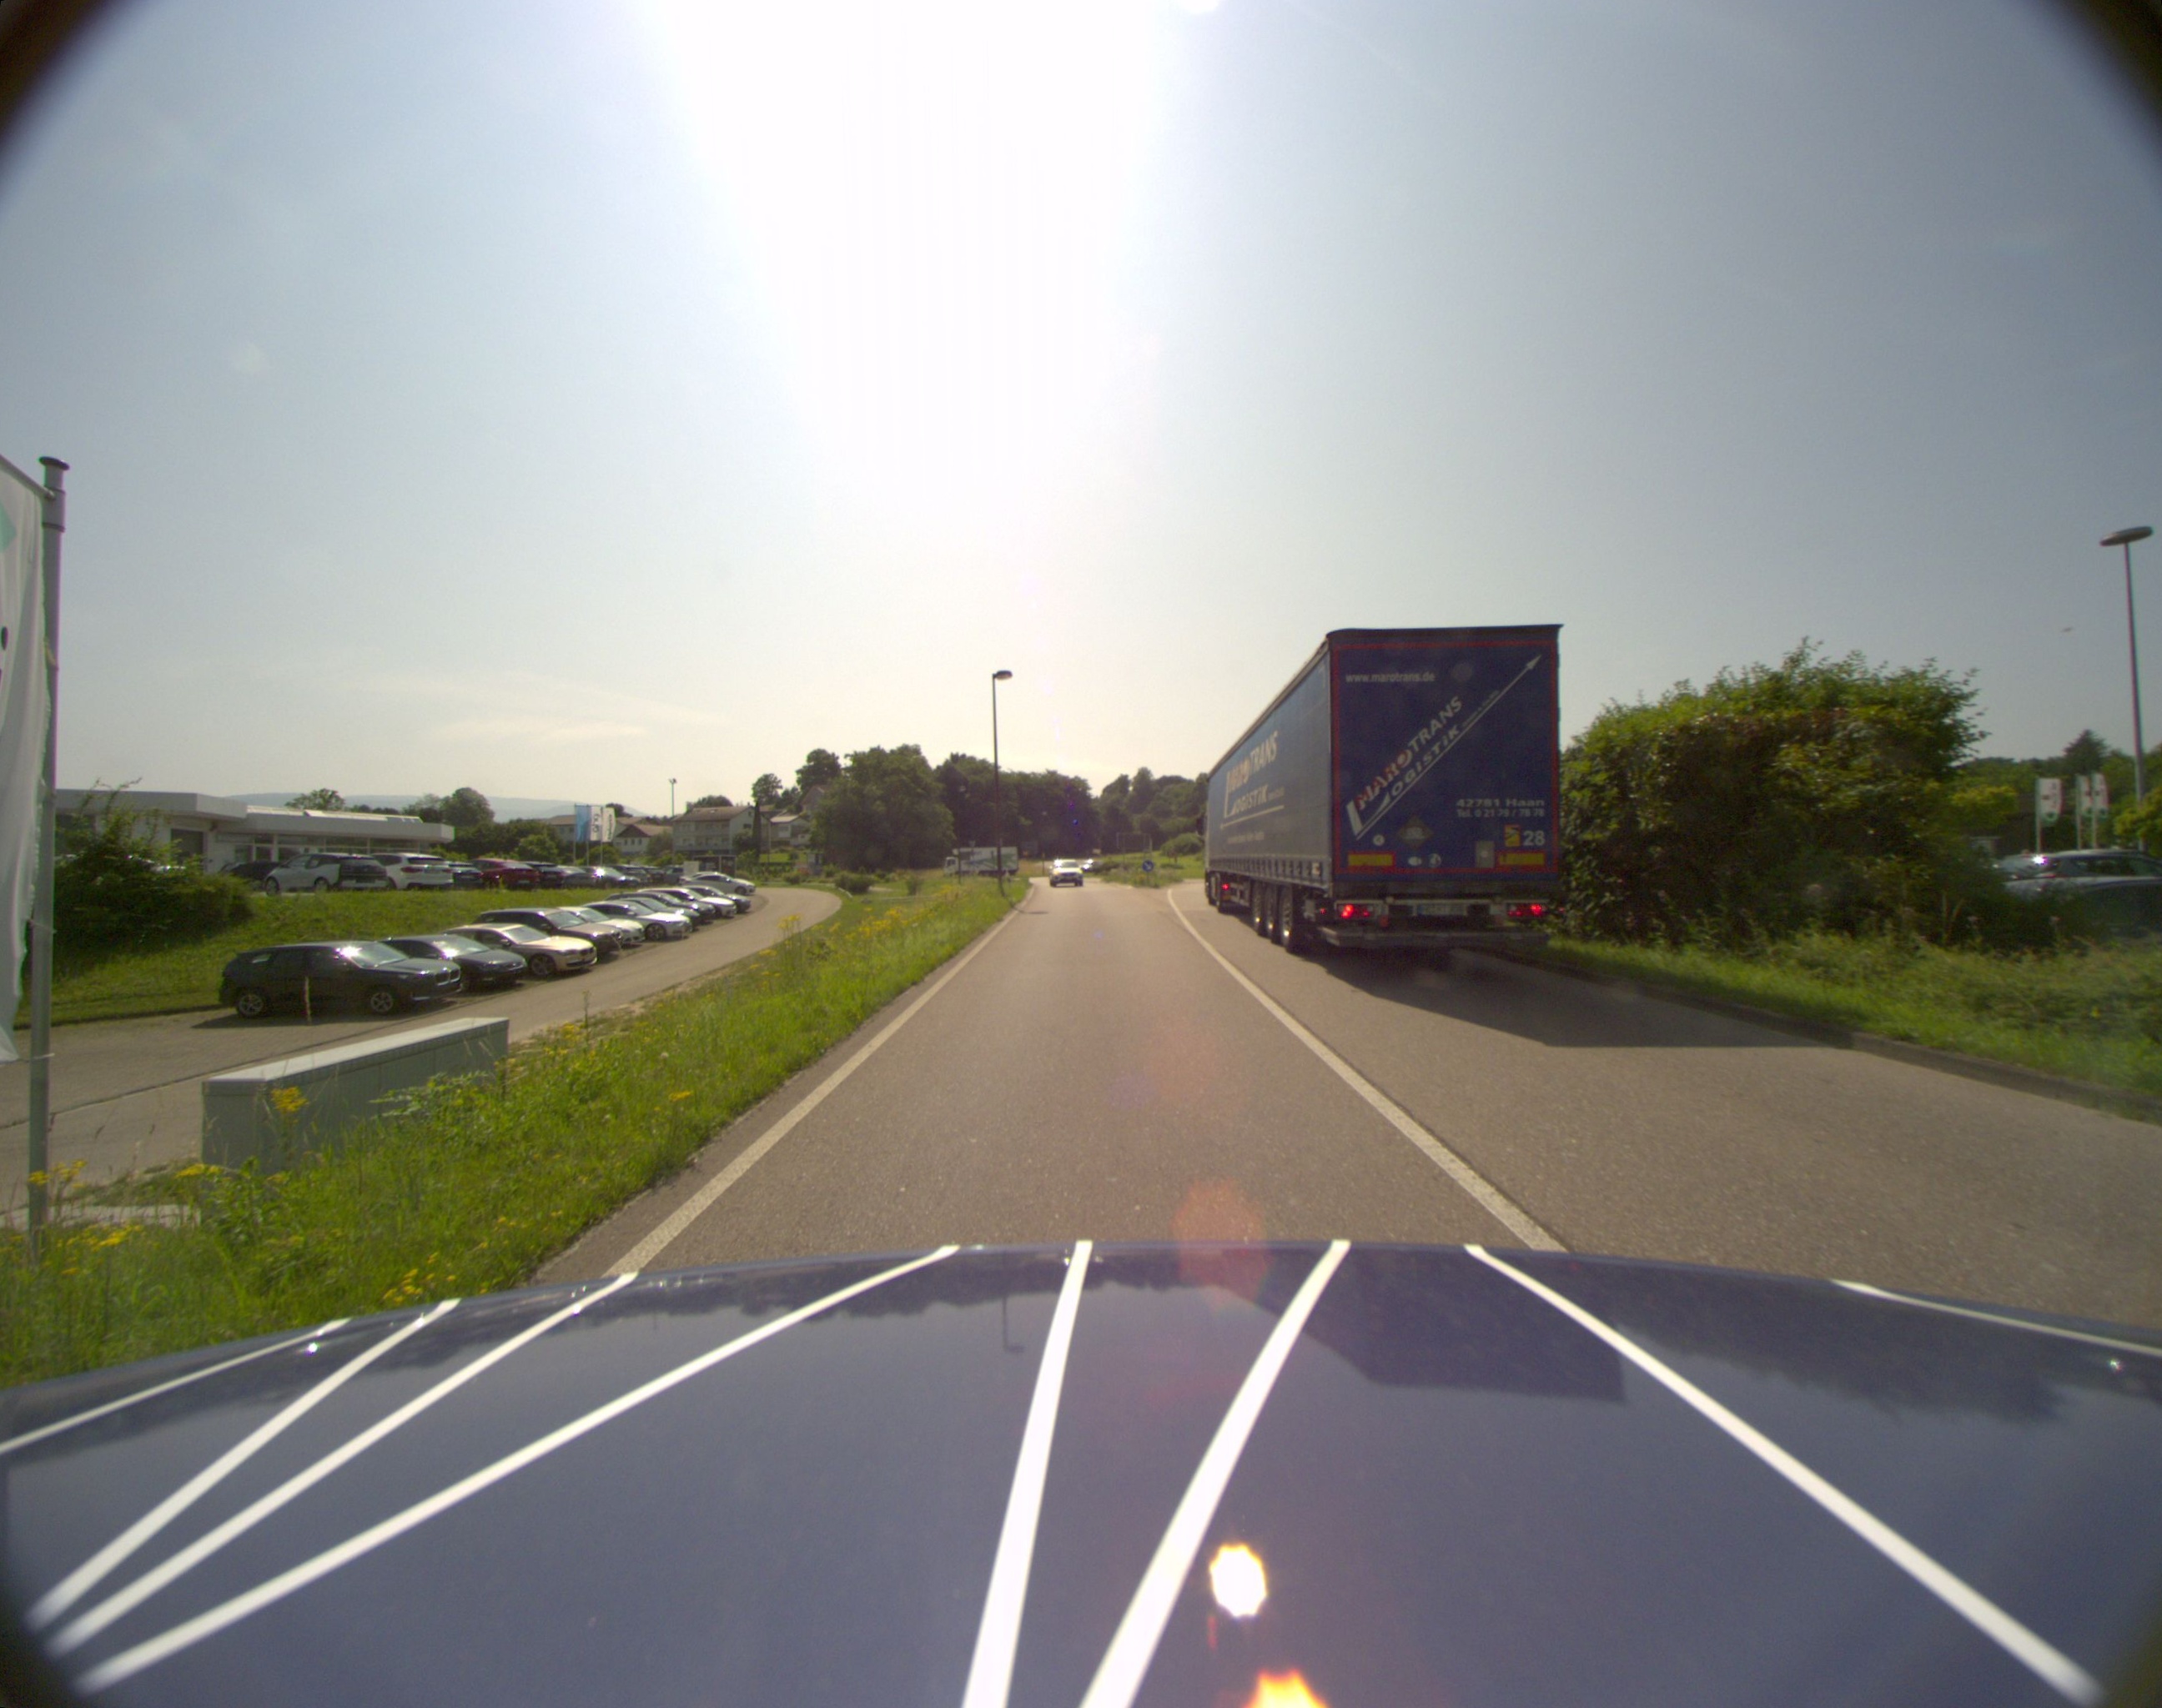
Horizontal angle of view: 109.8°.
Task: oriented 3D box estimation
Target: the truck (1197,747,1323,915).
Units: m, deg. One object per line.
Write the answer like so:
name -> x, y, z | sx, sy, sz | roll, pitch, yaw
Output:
truck -> 5.018, -0.597, 22.362 | 2.519, 4.233, 6.114 | -1, 0, 3

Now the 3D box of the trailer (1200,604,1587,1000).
trailer -> 4.545, -0.579, 15.598 | 2.676, 4.216, 14.569 | -2, 0, 4

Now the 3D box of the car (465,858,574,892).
car -> -27.846, 1.017, 37.743 | 4.459, 1.625, 1.952 | -1, 0, 14

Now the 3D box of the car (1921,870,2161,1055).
car -> 14.281, 1.317, 10.236 | 3.999, 2.002, 1.999 | -2, 0, -7

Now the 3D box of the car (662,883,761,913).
car -> -19.748, 2.360, 40.857 | 4.577, 1.413, 1.780 | 1, 2, -19

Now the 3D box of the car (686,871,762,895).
car -> -24.532, 1.966, 52.318 | 4.582, 1.561, 1.765 | 0, 1, -20

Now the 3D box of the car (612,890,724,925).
car -> -19.417, 2.503, 35.926 | 4.264, 1.474, 1.920 | 1, 2, -14

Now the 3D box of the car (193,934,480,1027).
car -> -17.869, 2.995, 18.514 | 4.495, 1.631, 2.145 | -2, 2, -9

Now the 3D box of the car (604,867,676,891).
car -> -31.803, 1.784, 54.829 | 4.417, 1.491, 1.951 | 2, 1, 14

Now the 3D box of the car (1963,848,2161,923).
car -> 25.301, 0.764, 19.015 | 3.995, 1.652, 1.860 | -2, 0, 6

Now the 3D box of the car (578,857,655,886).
car -> -29.856, 1.124, 48.830 | 4.001, 1.740, 1.952 | 1, 0, 14

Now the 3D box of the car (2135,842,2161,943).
car -> 23.615, 0.708, 14.736 | 3.999, 2.002, 1.999 | -2, 0, -7

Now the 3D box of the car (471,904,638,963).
car -> -17.975, 2.705, 26.139 | 4.261, 1.739, 1.998 | 1, 2, -5

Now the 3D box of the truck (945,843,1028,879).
truck -> -10.938, 0.760, 87.795 | 9.027, 3.807, 2.897 | -2, 1, -14

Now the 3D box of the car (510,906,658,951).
car -> -18.557, 2.763, 28.537 | 4.260, 1.457, 1.872 | 0, 2, -5

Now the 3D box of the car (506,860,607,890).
car -> -27.708, 1.096, 40.168 | 4.459, 1.491, 1.952 | -1, -1, 14

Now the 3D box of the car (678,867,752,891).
car -> -26.314, 1.800, 54.745 | 4.672, 1.561, 1.765 | 2, -1, -25

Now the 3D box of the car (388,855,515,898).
car -> -26.591, 0.945, 32.129 | 4.459, 1.737, 1.841 | -1, 0, 14

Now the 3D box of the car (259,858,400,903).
car -> -26.495, 0.918, 26.833 | 3.880, 1.523, 1.770 | -1, 0, 14

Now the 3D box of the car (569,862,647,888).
car -> -28.441, 1.250, 45.691 | 4.000, 1.517, 1.953 | -1, -1, 20

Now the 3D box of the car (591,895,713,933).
car -> -18.812, 2.618, 33.520 | 4.261, 1.405, 1.921 | 1, 2, -5

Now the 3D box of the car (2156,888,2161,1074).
car -> 13.752, 1.296, 7.464 | 3.999, 2.002, 1.999 | -2, 0, -7

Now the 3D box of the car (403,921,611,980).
car -> -17.628, 2.960, 23.547 | 4.781, 1.500, 1.998 | 0, 2, -5

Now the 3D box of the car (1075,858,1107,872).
car -> 1.267, 1.336, 94.301 | 2.193, 1.642, 6.026 | -3, 0, 18

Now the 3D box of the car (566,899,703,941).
car -> -18.038, 2.657, 30.912 | 4.437, 1.457, 1.920 | 1, 2, -13

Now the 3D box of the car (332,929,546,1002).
car -> -17.490, 3.014, 20.917 | 4.000, 1.543, 1.998 | -1, 2, -9

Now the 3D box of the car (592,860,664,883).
car -> -31.127, 1.196, 52.263 | 4.001, 1.491, 1.952 | 1, -1, 14

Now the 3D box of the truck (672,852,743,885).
truck -> -31.105, 1.244, 63.318 | 5.614, 2.649, 1.953 | -1, -1, 20

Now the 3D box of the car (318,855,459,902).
car -> -26.637, 0.927, 29.248 | 4.459, 1.737, 1.841 | -1, 0, 14

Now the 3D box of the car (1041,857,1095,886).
car -> -0.869, 1.066, 47.021 | 2.198, 1.642, 5.116 | -2, 0, -14

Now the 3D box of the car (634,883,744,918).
car -> -19.661, 2.347, 38.321 | 4.575, 1.557, 1.920 | 1, 2, -14

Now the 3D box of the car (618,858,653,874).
car -> -42.785, 1.155, 72.940 | 1.914, 1.503, 4.363 | 0, -1, -43

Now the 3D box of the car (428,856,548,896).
car -> -26.933, 0.976, 34.572 | 4.459, 1.737, 1.952 | -1, 0, 14
